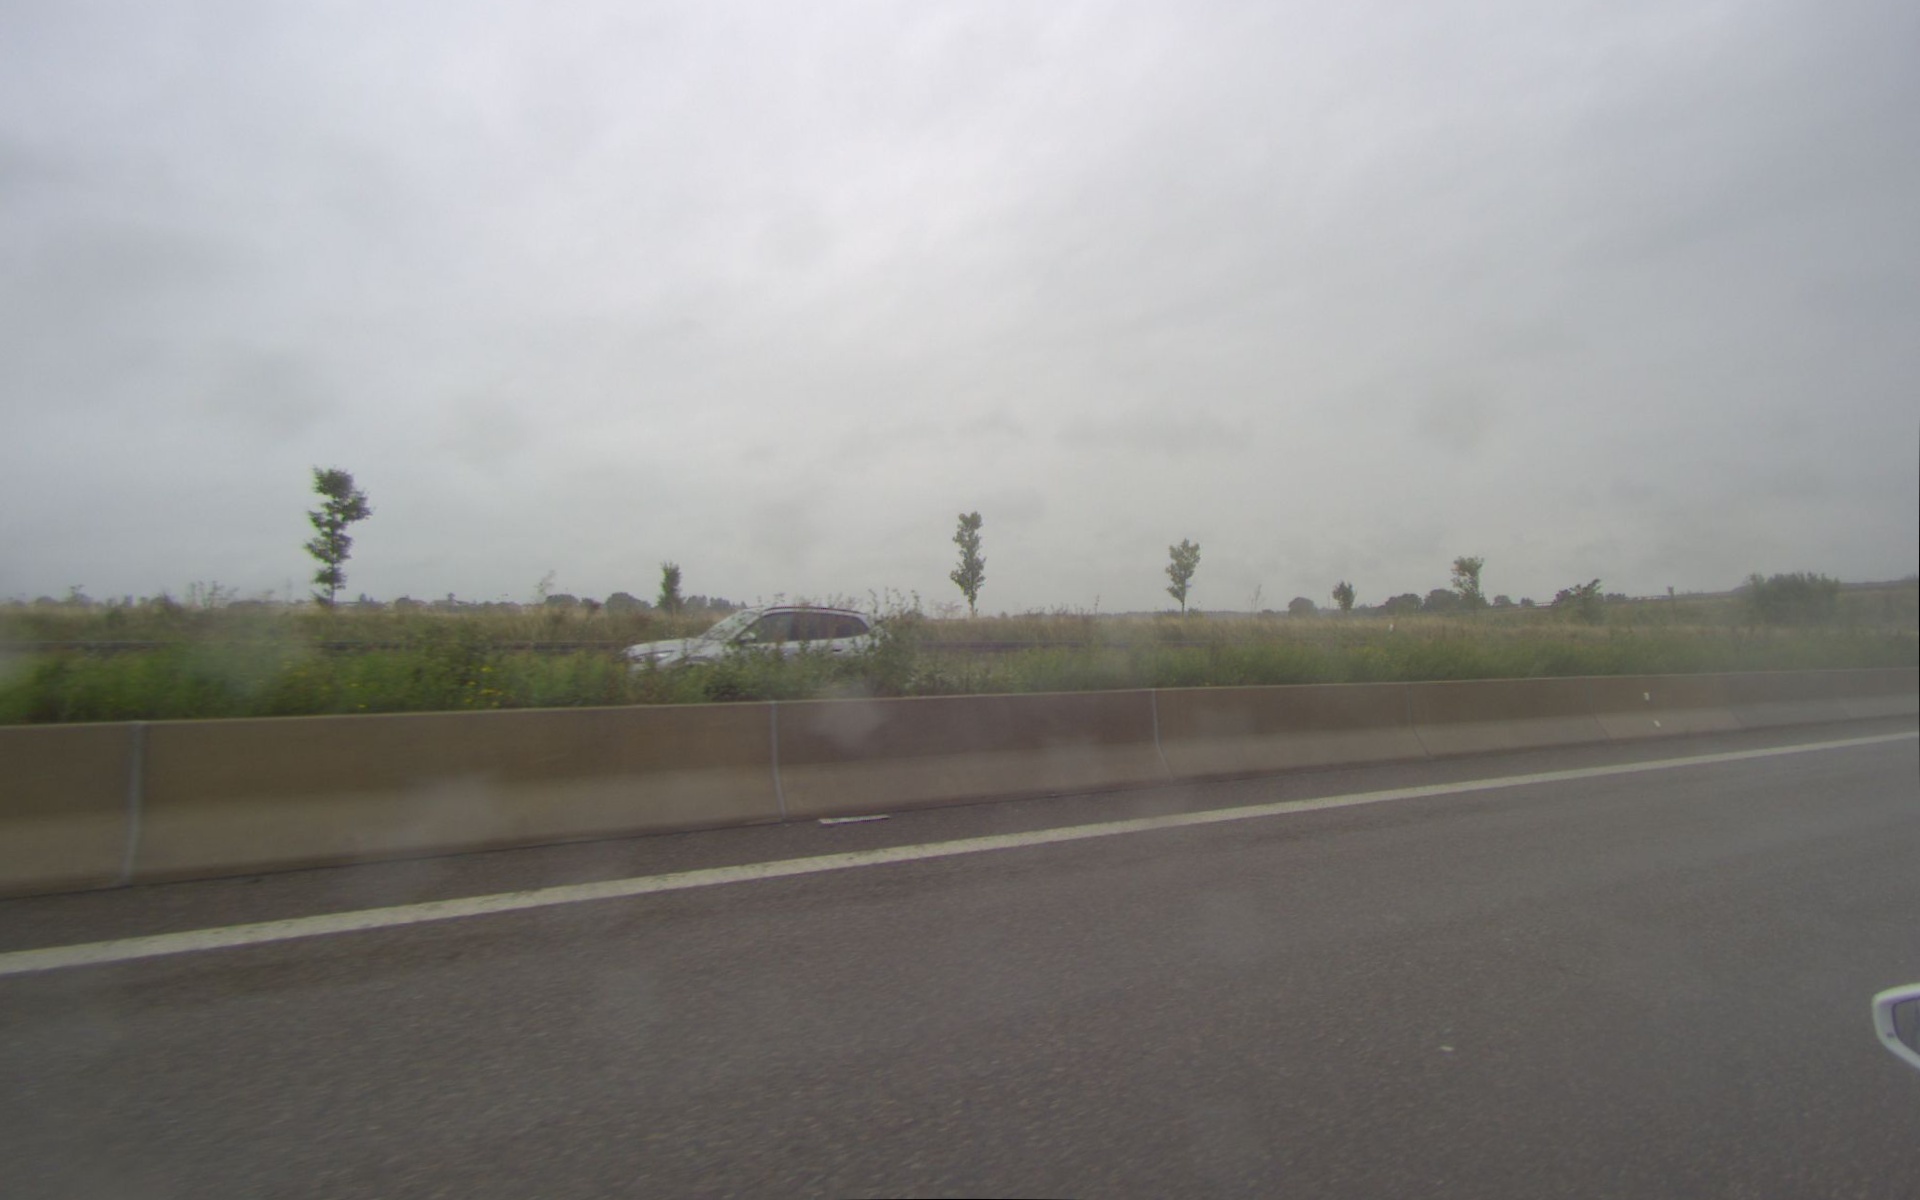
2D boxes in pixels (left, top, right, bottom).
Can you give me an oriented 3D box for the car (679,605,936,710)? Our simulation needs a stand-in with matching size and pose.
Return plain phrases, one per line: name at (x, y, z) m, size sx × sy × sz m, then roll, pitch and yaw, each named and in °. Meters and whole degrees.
car at (-2.345, 0.865, 15.812) m, size 3.782 × 1.500 × 1.313 m, roll 1°, pitch -1°, yaw -30°
